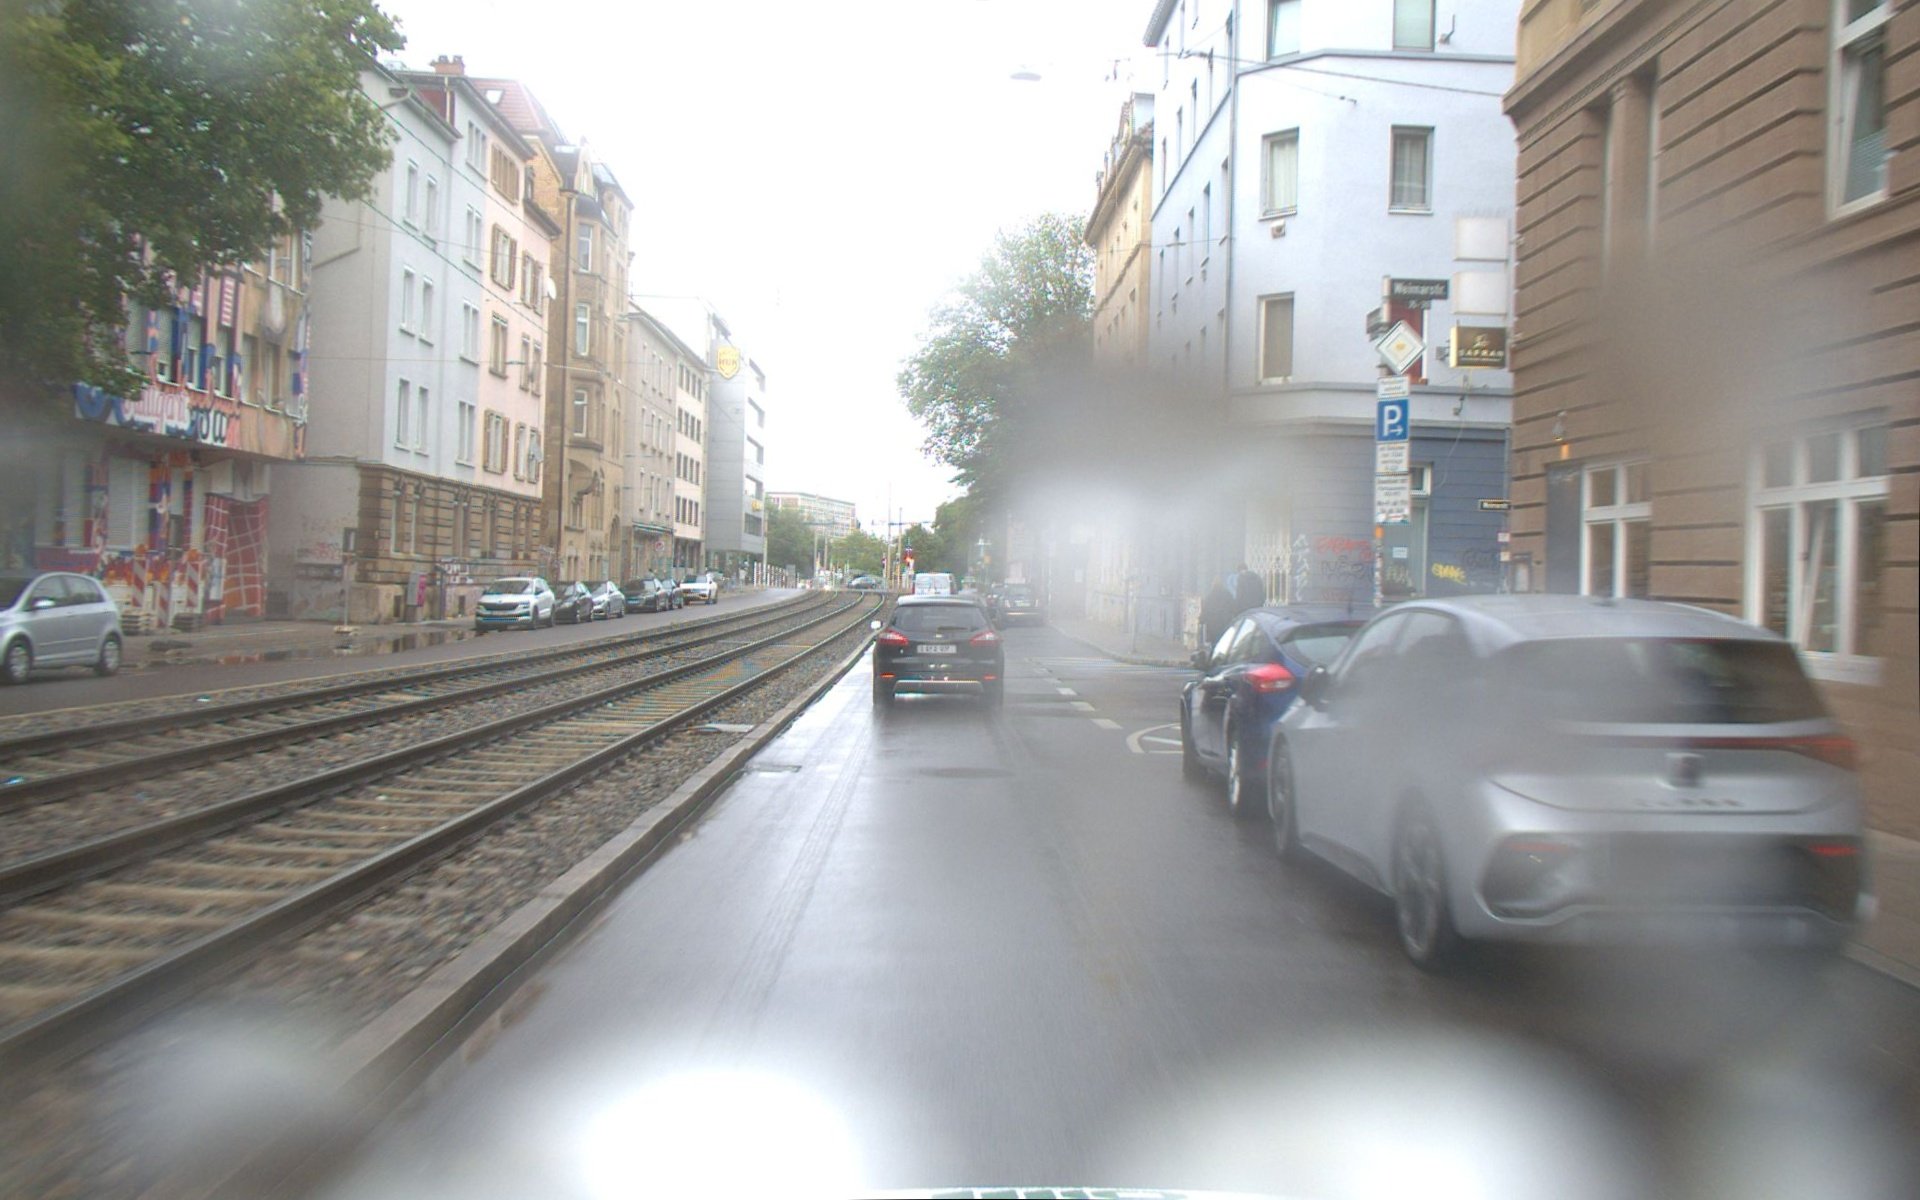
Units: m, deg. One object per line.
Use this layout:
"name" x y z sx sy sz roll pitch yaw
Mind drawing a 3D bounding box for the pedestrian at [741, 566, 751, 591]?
"pedestrian" -16.494 -1.682 127.492 0.729 1.886 0.839 1 -1 -2

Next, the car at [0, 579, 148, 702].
"car" -13.564 0.514 23.813 1.687 1.597 4.219 2 0 -1

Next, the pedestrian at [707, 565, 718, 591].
"pedestrian" -18.159 -1.626 121.402 0.729 1.886 0.839 1 -1 -2

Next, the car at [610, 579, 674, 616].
"car" -14.074 -0.122 73.436 1.953 1.545 4.675 2 0 -1

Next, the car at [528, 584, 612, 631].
"car" -13.693 0.236 58.293 1.953 1.545 4.208 2 0 -1

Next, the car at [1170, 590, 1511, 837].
"car" 2.786 0.738 13.063 1.685 1.542 4.258 1 1 0

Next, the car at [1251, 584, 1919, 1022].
"car" 2.760 0.738 8.308 1.711 1.549 4.354 1 1 -1

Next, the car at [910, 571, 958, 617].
"car" -1.084 -0.236 70.652 1.953 1.848 4.270 1 0 0

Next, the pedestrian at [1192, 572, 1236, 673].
"pedestrian" 4.825 0.421 31.497 0.648 1.884 0.821 1 1 -2

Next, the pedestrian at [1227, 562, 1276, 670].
"pedestrian" 5.610 0.301 31.877 0.721 2.048 0.821 1 1 -2

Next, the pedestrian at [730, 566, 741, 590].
"pedestrian" -17.345 -1.699 127.840 0.729 1.886 0.839 1 -1 -2

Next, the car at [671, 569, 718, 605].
"car" -14.586 -0.720 91.111 1.954 1.871 5.069 2 0 -2

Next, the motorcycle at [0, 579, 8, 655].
"motorcycle" -17.962 0.319 29.642 0.626 1.403 2.119 2 0 -2

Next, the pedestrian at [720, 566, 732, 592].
"pedestrian" -17.178 -1.552 121.562 0.729 1.886 0.839 1 -1 -2

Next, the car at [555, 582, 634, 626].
"car" -13.865 0.130 62.986 1.953 1.545 4.991 2 0 -1

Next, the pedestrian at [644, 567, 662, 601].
"pedestrian" -16.701 -0.876 90.082 0.785 1.781 0.984 1 0 -2

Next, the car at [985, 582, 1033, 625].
"car" 1.883 0.102 64.727 1.609 1.542 4.038 1 1 -2

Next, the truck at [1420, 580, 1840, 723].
"truck" 9.126 0.674 22.789 4.958 1.850 2.082 0 1 -4

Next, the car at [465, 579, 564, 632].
"car" -13.909 0.153 51.881 1.953 1.545 4.434 2 0 -1

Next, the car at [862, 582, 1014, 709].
"car" -0.297 0.606 23.568 1.953 1.622 4.270 1 0 0

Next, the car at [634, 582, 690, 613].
"car" -14.407 -0.121 80.092 1.953 1.400 4.237 2 0 -1

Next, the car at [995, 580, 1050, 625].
"car" 2.253 0.056 60.054 1.703 1.515 3.999 1 1 -2
